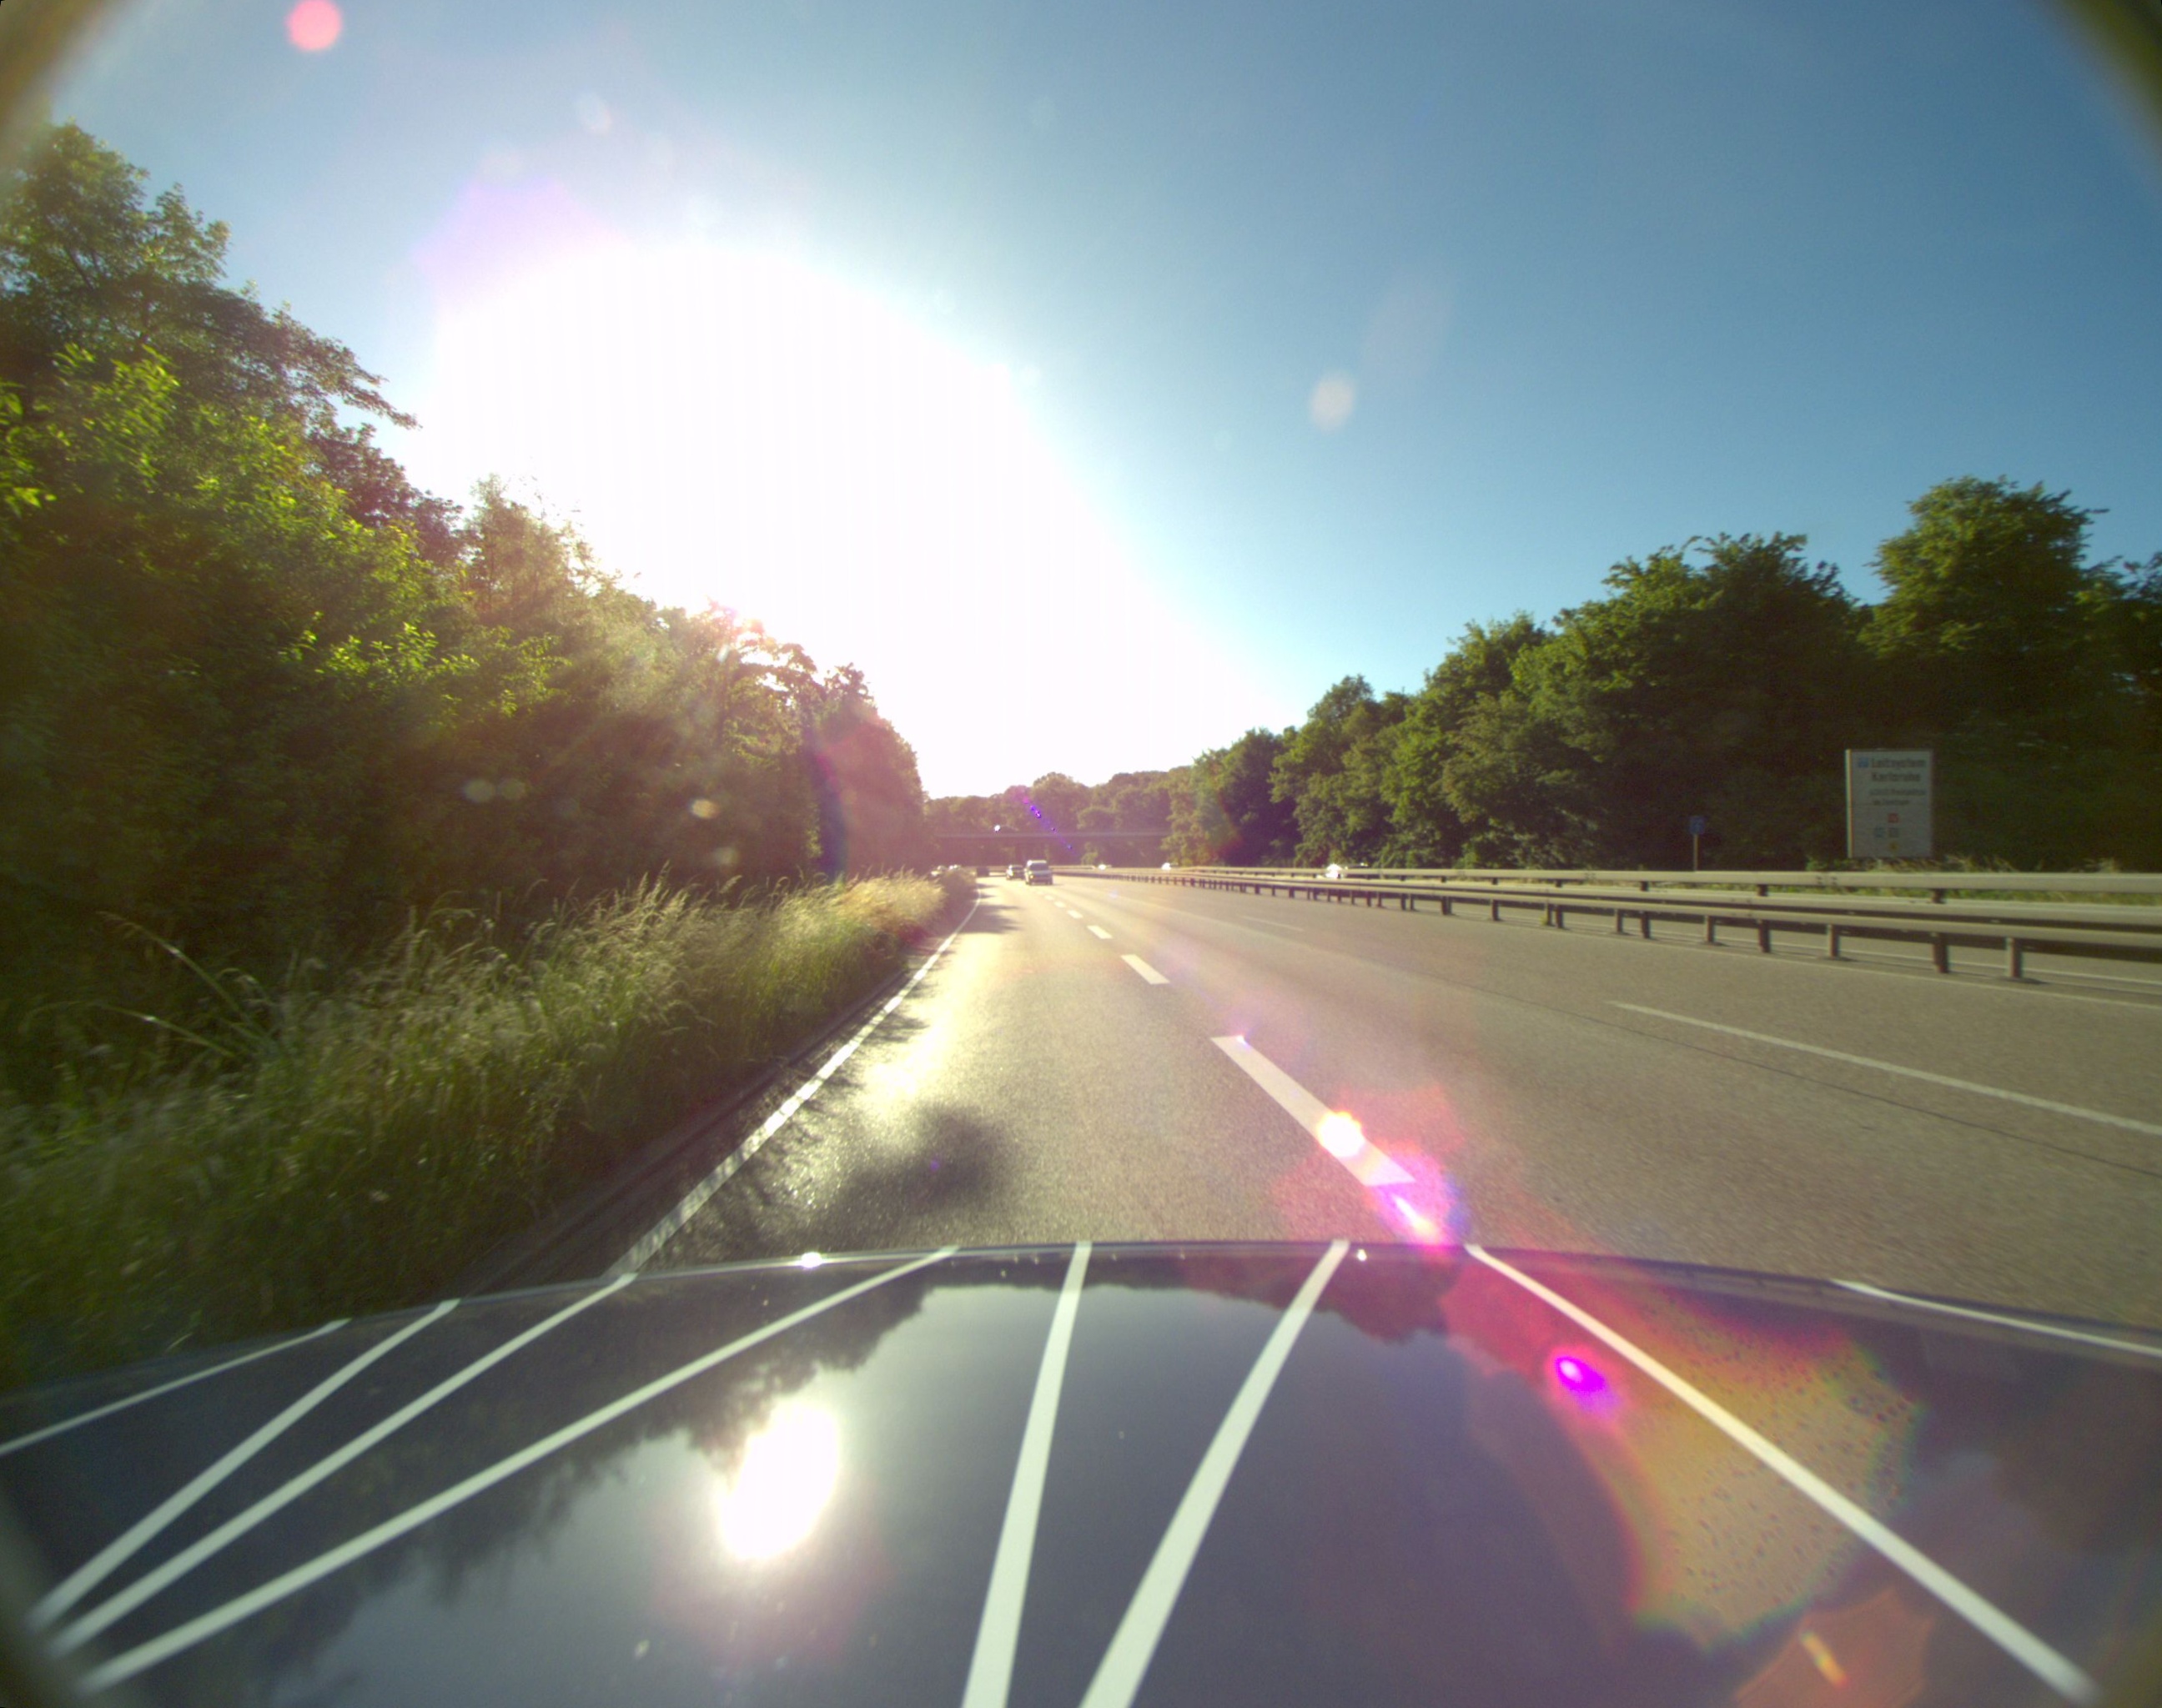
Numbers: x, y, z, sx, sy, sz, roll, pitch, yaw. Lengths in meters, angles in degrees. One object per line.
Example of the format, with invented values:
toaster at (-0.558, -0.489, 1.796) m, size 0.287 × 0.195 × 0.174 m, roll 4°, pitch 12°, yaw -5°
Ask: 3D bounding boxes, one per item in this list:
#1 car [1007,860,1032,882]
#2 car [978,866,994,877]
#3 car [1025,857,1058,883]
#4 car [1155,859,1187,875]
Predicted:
car at (-6.392, 1.741, 78.328) m, size 2.258 × 1.843 × 5.136 m, roll -2°, pitch 3°, yaw -7°
car at (-13.894, 2.533, 111.181) m, size 1.936 × 1.499 × 5.081 m, roll -1°, pitch 1°, yaw -11°
car at (-3.072, 1.172, 57.766) m, size 1.801 × 1.796 × 4.828 m, roll -2°, pitch 1°, yaw -10°
car at (9.380, 1.380, 79.680) m, size 2.000 × 1.639 × 4.419 m, roll -1°, pitch -1°, yaw -11°
